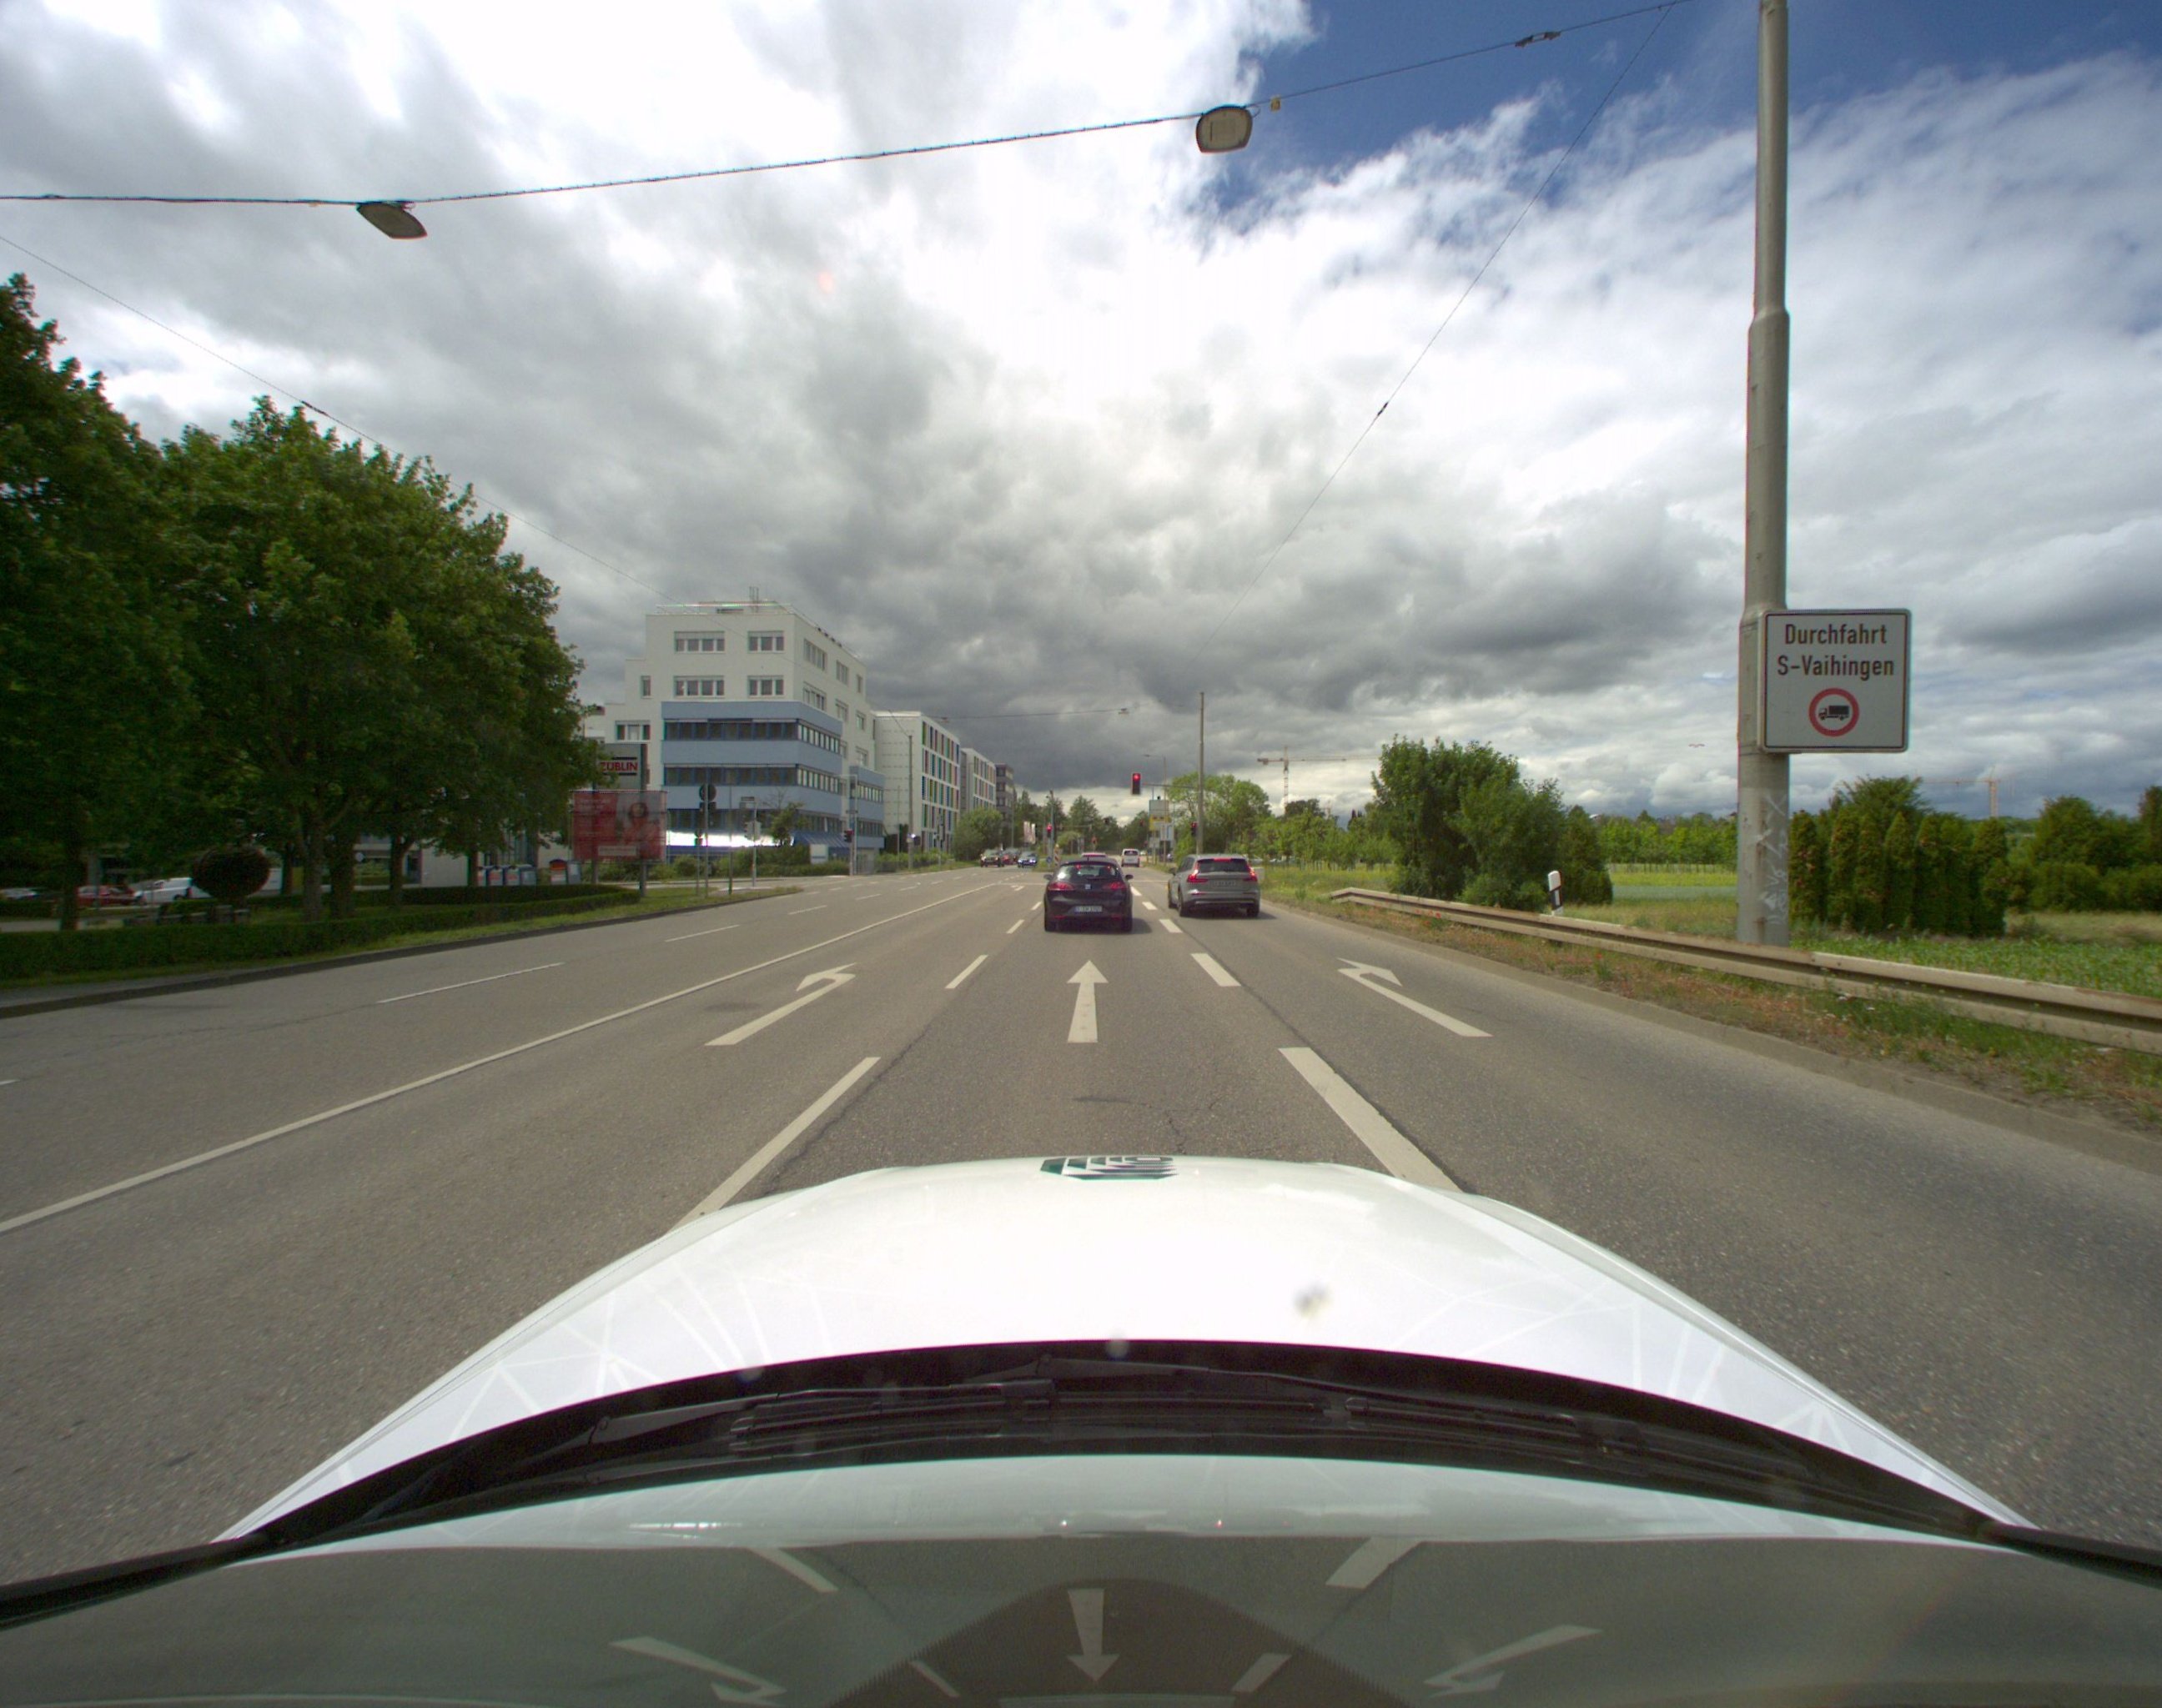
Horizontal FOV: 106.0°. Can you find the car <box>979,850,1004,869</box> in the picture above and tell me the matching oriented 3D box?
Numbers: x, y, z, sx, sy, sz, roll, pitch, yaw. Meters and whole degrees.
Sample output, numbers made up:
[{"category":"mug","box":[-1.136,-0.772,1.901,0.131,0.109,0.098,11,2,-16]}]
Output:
[{"category":"car","box":[-8.082,0.498,73.896,1.745,1.631,4.000,-2,0,1]}]

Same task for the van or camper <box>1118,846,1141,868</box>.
[{"category":"van or camper","box":[5.019,0.306,84.894,1.895,1.927,3.993,0,-6,-3]}]

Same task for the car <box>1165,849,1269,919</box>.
[{"category":"car","box":[3.259,0.687,20.404,1.951,1.525,4.341,-1,-1,1]}]

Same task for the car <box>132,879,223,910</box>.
[{"category":"car","box":[-60.169,2.708,54.272,3.969,1.980,2.002,0,-1,4]}]

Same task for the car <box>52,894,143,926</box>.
[{"category":"car","box":[-65.917,3.736,54.606,3.969,2.014,1.895,0,-1,4]}]

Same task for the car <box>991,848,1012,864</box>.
[{"category":"car","box":[-8.199,0.198,84.025,1.770,1.612,4.000,0,0,1]}]

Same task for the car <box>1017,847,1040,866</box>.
[{"category":"car","box":[-4.651,0.196,72.504,1.663,1.524,4.008,-2,1,1]}]

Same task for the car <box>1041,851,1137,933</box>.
[{"category":"car","box":[0.282,0.717,17.077,1.740,1.484,4.004,-1,0,4]}]

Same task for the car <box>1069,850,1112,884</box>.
[{"category":"car","box":[0.449,0.592,39.849,1.977,1.590,4.225,0,0,0]}]
